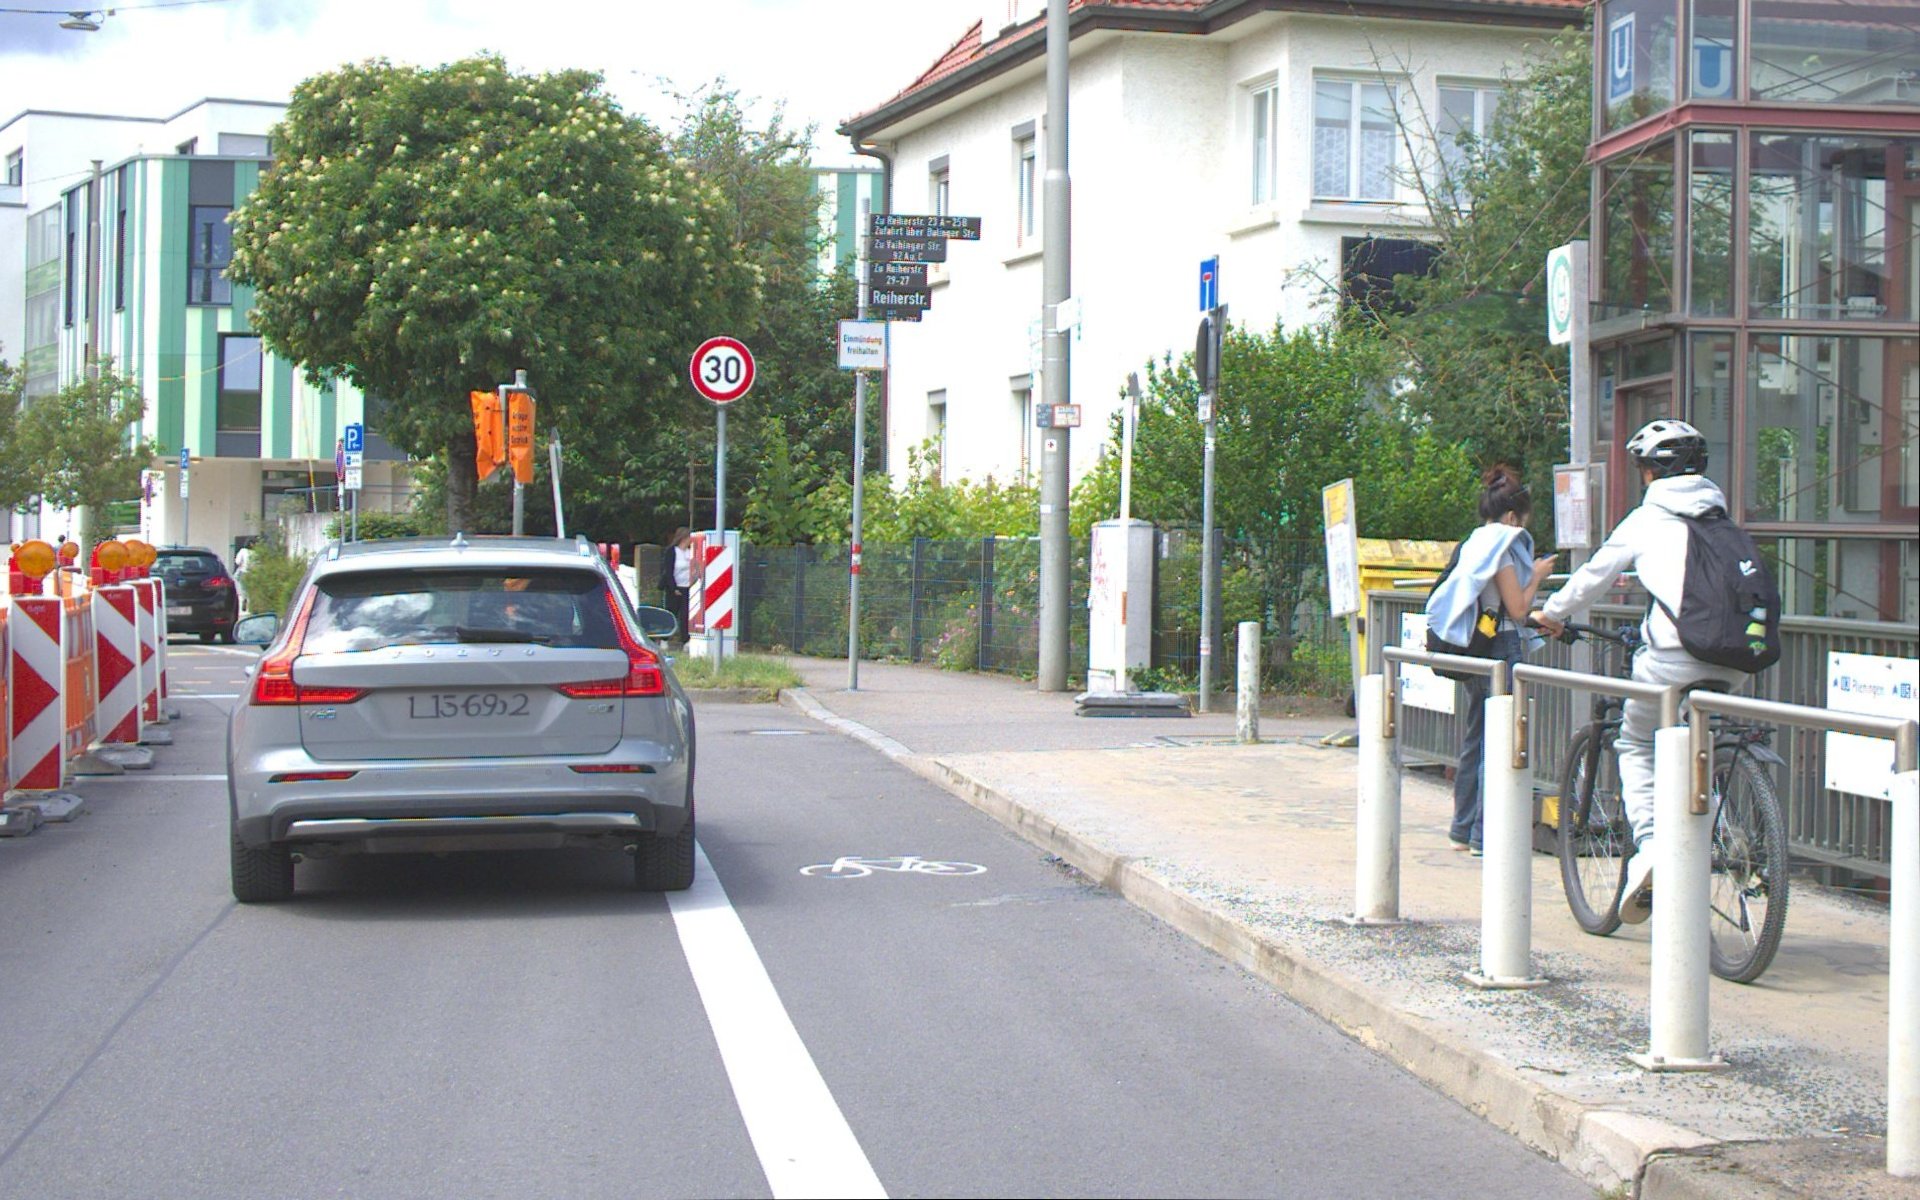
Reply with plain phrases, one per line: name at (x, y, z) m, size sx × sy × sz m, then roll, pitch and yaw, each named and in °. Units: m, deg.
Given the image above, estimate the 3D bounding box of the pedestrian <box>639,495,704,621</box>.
pedestrian at (-3.560, -0.521, 42.436) m, size 0.634 × 1.534 × 0.522 m, roll -1°, pitch 1°, yaw -30°

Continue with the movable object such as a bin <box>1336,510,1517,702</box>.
movable object such as a bin at (3.693, 0.037, 27.321) m, size 1.268 × 1.465 × 1.004 m, roll 1°, pitch 1°, yaw 0°

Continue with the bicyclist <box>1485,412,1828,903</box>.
bicyclist at (2.100, 0.149, 10.505) m, size 0.656 × 1.411 × 1.179 m, roll 1°, pitch 2°, yaw -7°

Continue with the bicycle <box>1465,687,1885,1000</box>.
bicycle at (2.153, 0.711, 10.650) m, size 0.635 × 0.751 × 2.063 m, roll 1°, pitch 2°, yaw -7°

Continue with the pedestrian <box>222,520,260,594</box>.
pedestrian at (-15.128, -0.910, 72.331) m, size 0.581 × 1.546 × 0.869 m, roll 0°, pitch 1°, yaw -26°

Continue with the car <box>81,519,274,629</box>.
car at (-11.605, -0.405, 50.803) m, size 1.854 × 1.508 × 4.001 m, roll 1°, pitch 1°, yaw -26°

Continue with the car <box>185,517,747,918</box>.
car at (-1.988, 0.395, 14.973) m, size 1.854 × 1.508 × 4.000 m, roll 0°, pitch 1°, yaw 0°

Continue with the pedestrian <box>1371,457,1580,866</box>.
pedestrian at (2.080, 0.247, 13.891) m, size 0.598 × 1.577 × 0.401 m, roll 6°, pitch -1°, yaw -7°
